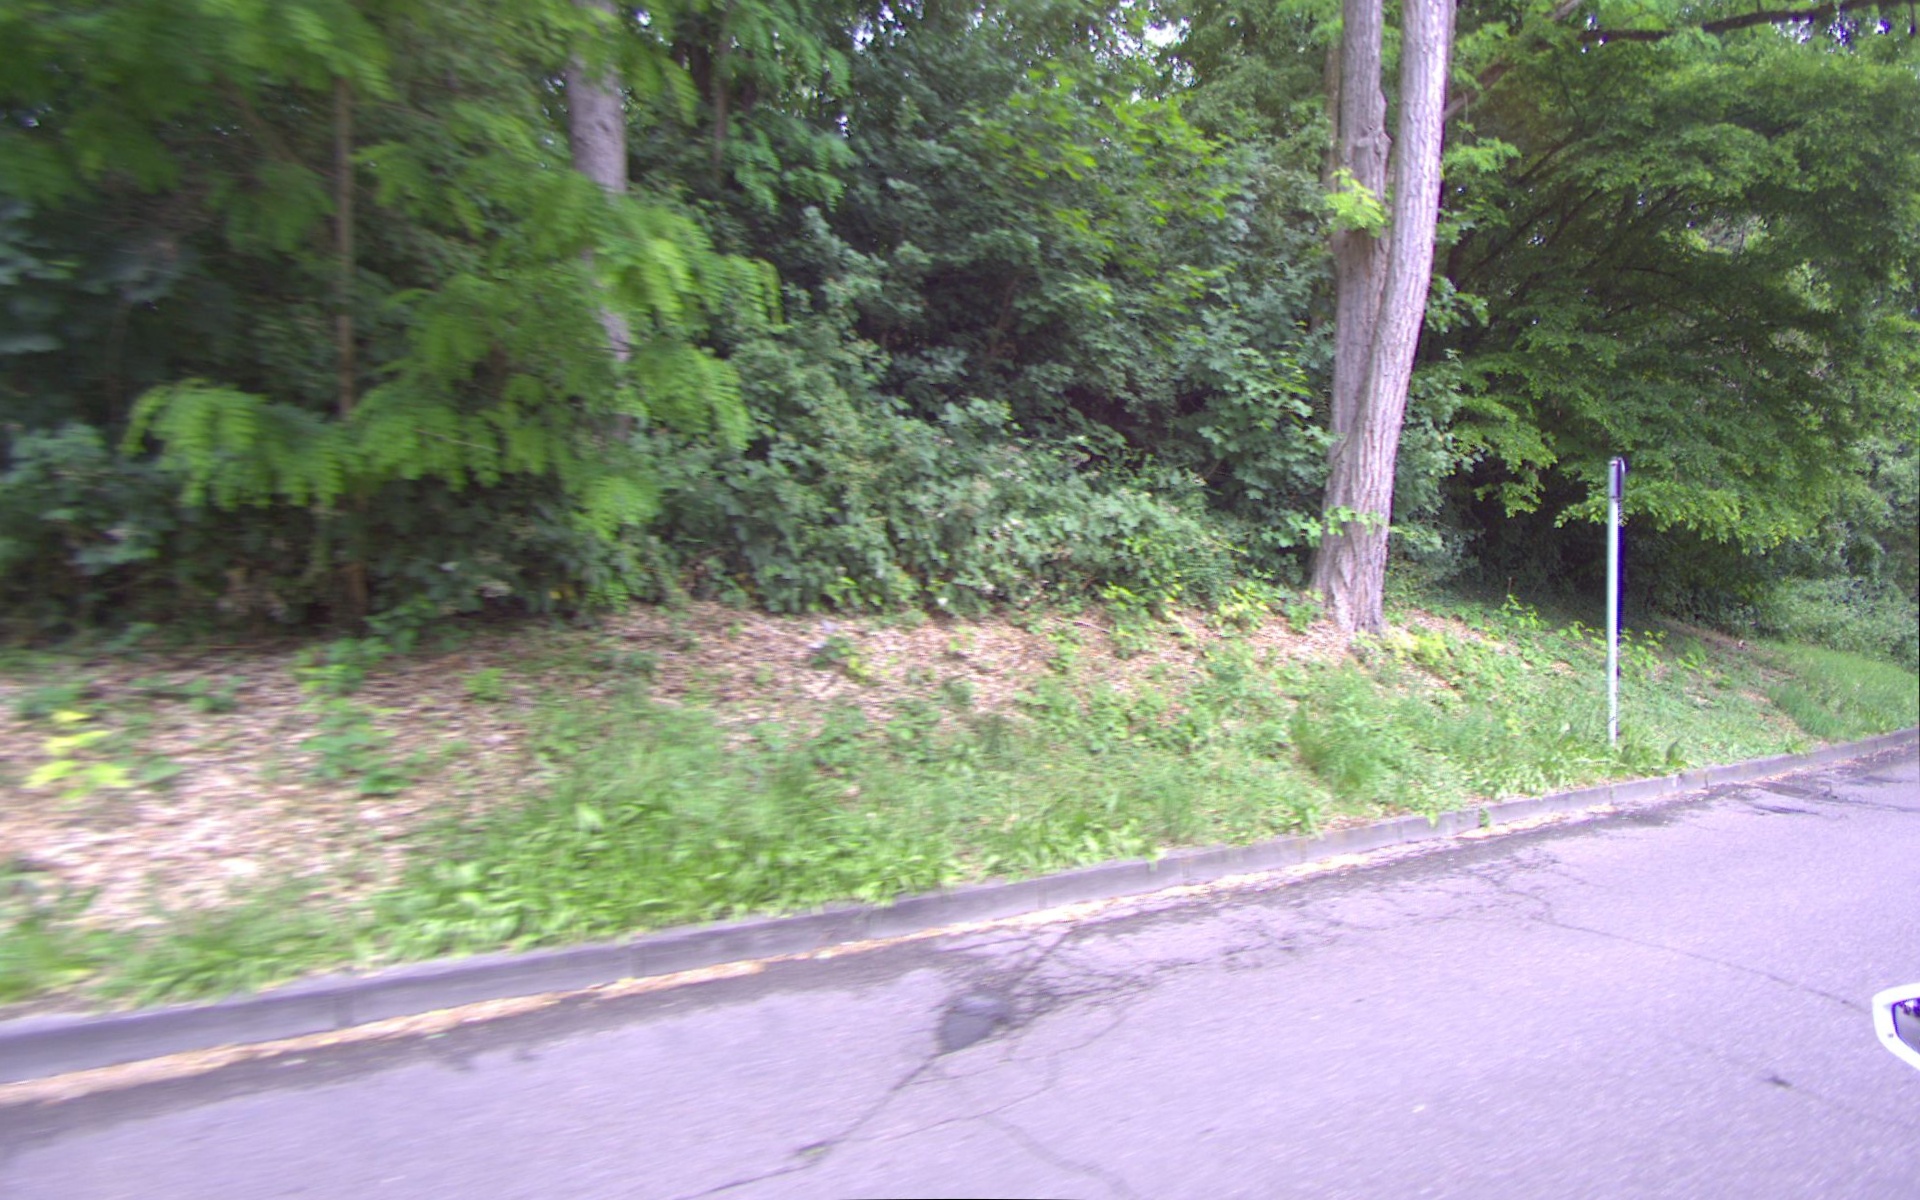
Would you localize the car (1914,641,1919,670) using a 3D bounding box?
[{"bbox_3d":[46.025,2.662,46.773,1.768,1.407,4.474,4,0,38],"label":"car"}]
